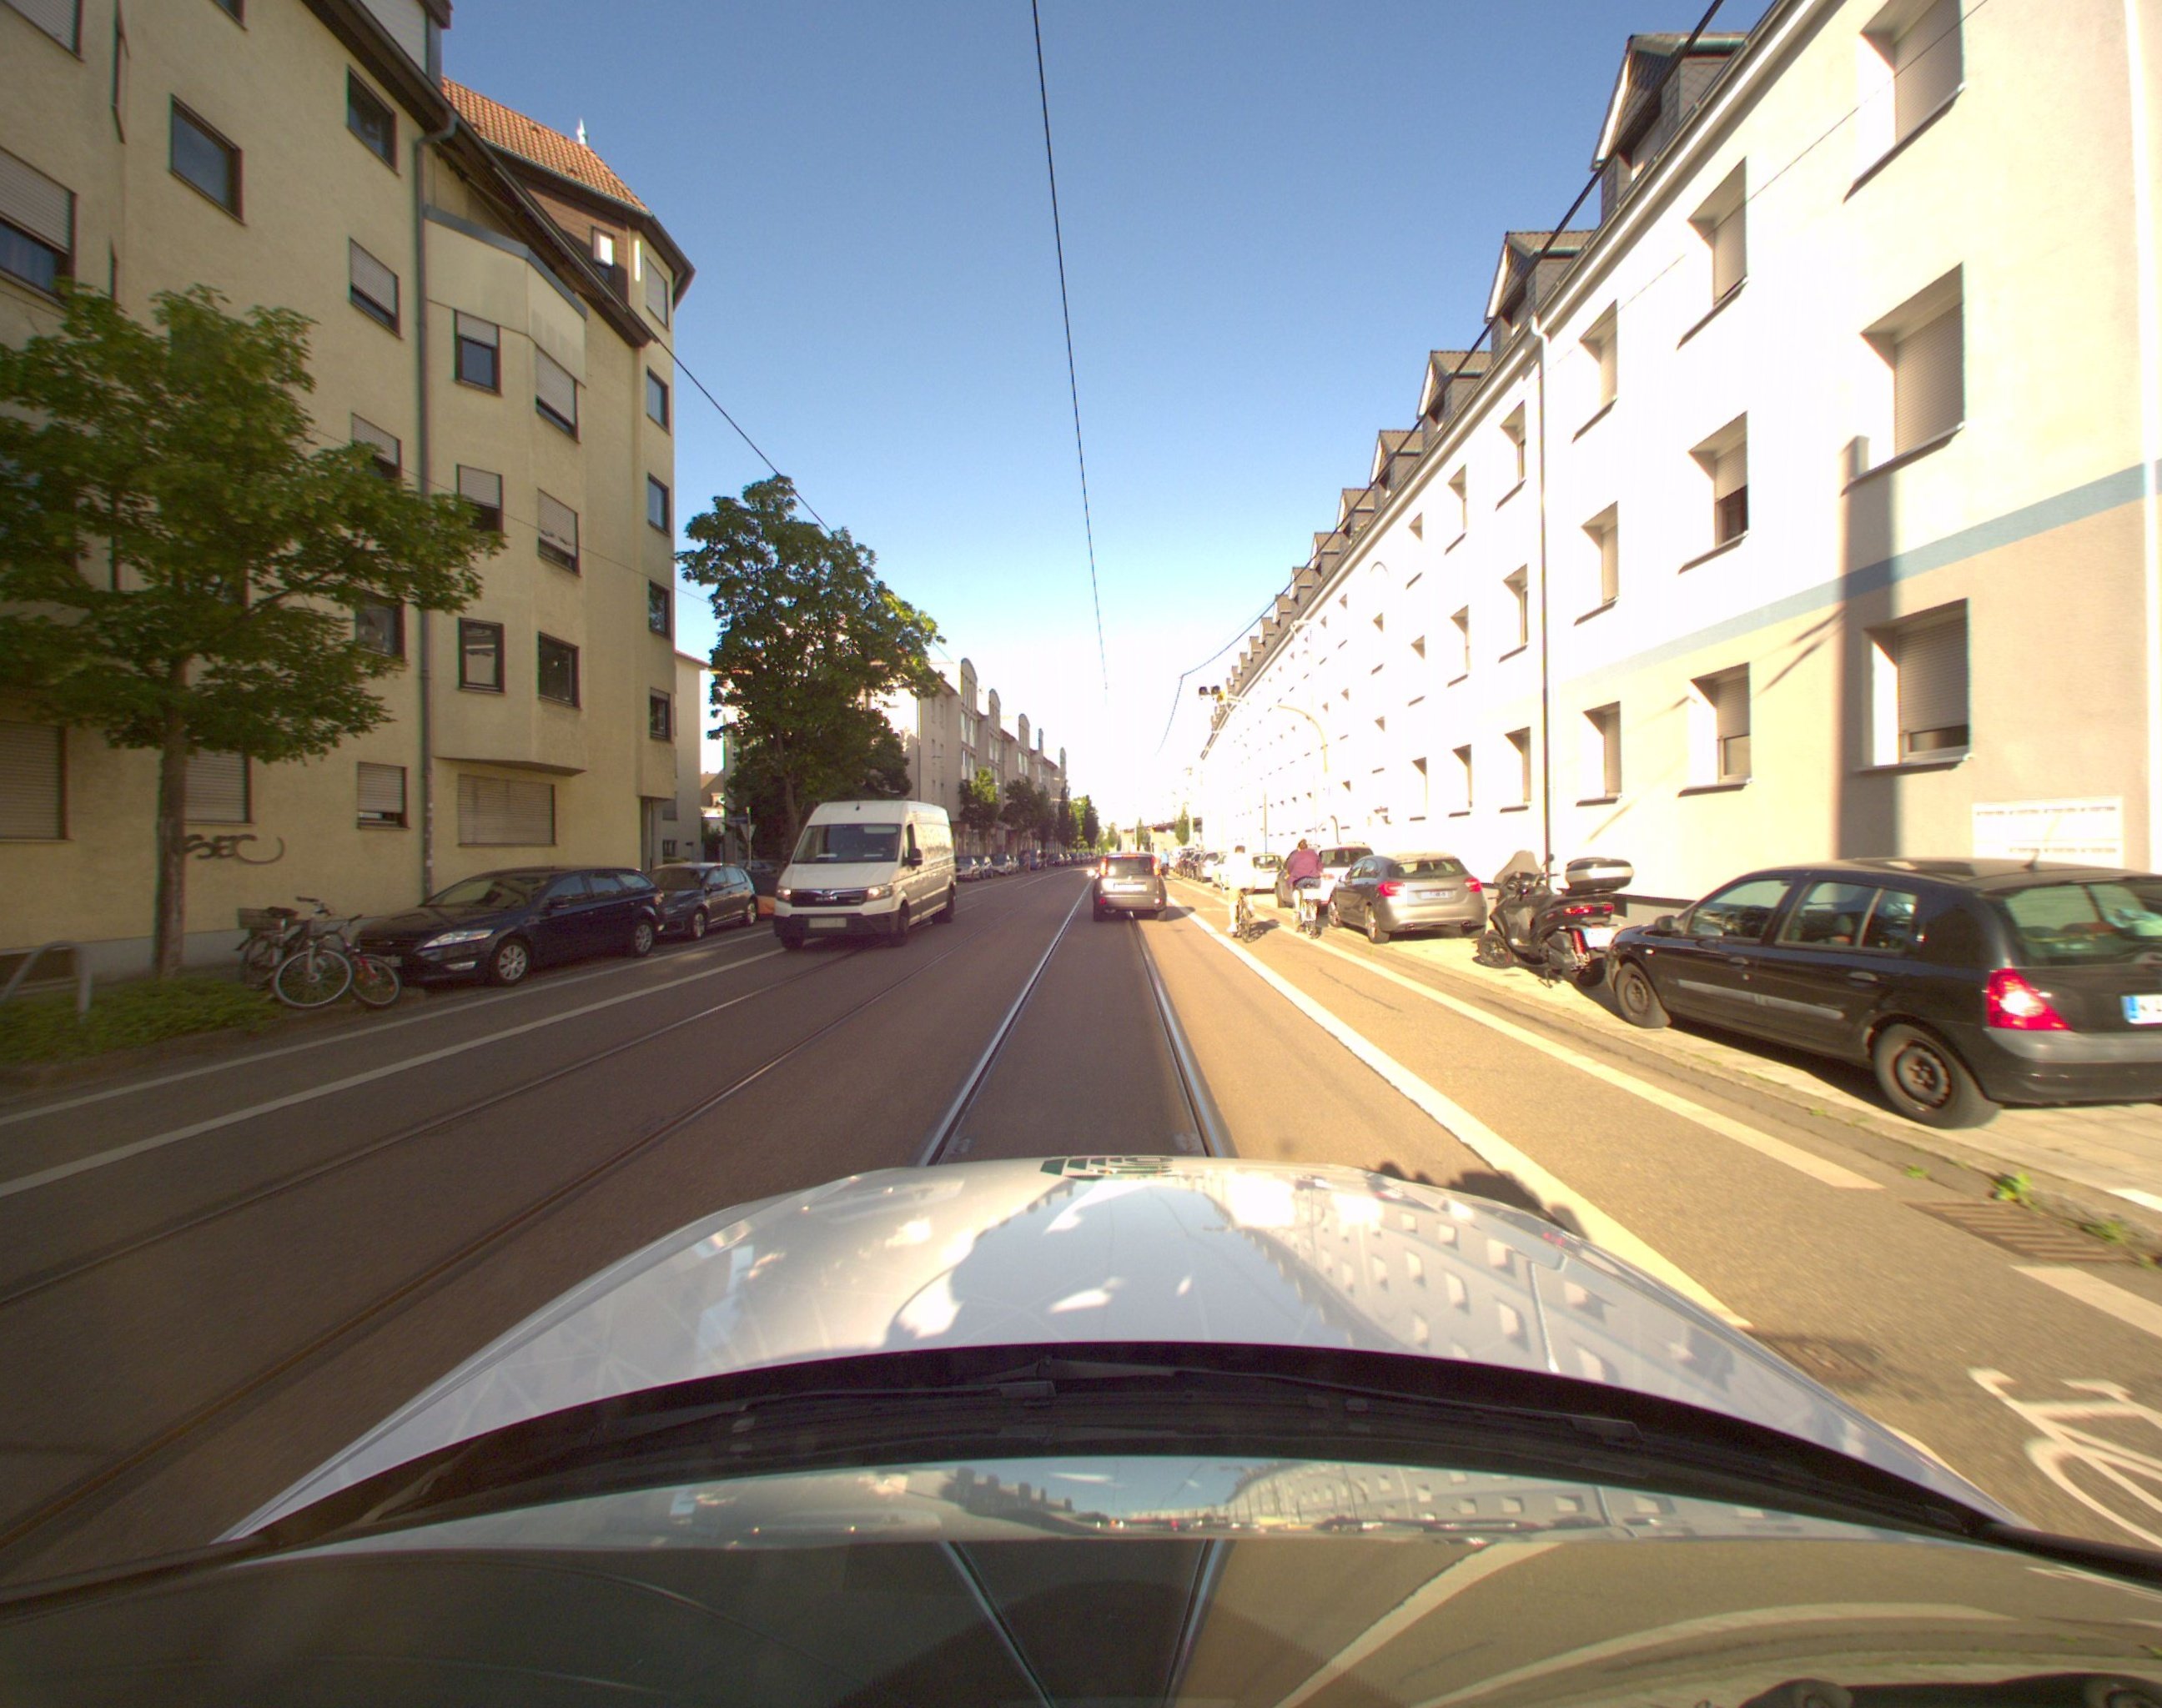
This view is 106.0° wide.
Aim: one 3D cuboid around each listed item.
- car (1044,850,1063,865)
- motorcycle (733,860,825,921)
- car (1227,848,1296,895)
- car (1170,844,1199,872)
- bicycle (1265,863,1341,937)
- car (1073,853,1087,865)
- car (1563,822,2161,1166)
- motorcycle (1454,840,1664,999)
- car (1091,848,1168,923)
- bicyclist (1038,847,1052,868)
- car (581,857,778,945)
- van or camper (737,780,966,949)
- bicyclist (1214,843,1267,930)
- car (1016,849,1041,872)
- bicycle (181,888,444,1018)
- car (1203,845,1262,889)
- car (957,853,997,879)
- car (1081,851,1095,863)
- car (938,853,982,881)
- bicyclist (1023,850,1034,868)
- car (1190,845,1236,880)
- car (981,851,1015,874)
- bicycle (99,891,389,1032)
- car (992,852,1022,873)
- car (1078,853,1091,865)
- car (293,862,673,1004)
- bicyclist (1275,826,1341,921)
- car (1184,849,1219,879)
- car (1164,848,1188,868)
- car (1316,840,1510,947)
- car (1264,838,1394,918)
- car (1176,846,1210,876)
[{"bbox_3d":[-2.999,0.385,90.071,1.657,1.618,4.004,-1,0,4],"label":"car"},{"bbox_3d":[-7.539,0.888,20.410,1.965,1.447,0.835,-1,0,-5],"label":"motorcycle"},{"bbox_3d":[6.288,0.558,28.789,1.508,1.430,4.203,-5,0,2],"label":"car"},{"bbox_3d":[7.709,0.292,61.097,1.779,1.970,4.158,-3,0,3],"label":"car"},{"bbox_3d":[4.118,0.809,15.321,0.818,1.236,2.463,0,0,1],"label":"bicycle"},{"bbox_3d":[-0.102,0.663,108.758,1.585,1.540,3.193,-1,0,3],"label":"car"},{"bbox_3d":[5.306,0.639,5.764,1.602,1.571,3.908,-3,0,3],"label":"car"},{"bbox_3d":[5.343,0.642,9.401,0.802,1.521,2.709,-3,0,1],"label":"motorcycle"},{"bbox_3d":[1.038,0.647,18.753,1.552,1.533,3.486,-1,0,0],"label":"car"},{"bbox_3d":[-2.822,0.298,63.721,0.878,1.561,0.868,-4,0,2],"label":"bicyclist"},{"bbox_3d":[-8.082,0.862,16.880,1.727,1.542,4.135,-1,0,5],"label":"car"},{"bbox_3d":[-3.982,0.165,15.833,2.361,2.553,6.836,0,0,1],"label":"van or camper"},{"bbox_3d":[2.803,0.554,14.401,0.725,1.462,1.021,-1,0,1],"label":"bicyclist"},{"bbox_3d":[-4.738,0.551,74.452,1.657,1.986,4.348,-1,0,4],"label":"car"},{"bbox_3d":[-8.569,1.083,9.140,2.284,1.334,0.700,-1,0,1],"label":"bicycle"},{"bbox_3d":[6.085,0.474,33.174,1.673,1.571,4.512,-3,0,2],"label":"car"},{"bbox_3d":[-6.644,0.720,52.398,1.823,1.489,4.002,-3,0,2],"label":"car"},{"bbox_3d":[1.035,0.449,118.877,1.836,1.646,3.700,-1,0,3],"label":"car"},{"bbox_3d":[-6.882,0.715,46.610,1.737,1.443,4.002,1,0,2],"label":"car"},{"bbox_3d":[-4.115,0.403,63.629,0.621,1.380,0.868,-5,0,2],"label":"bicyclist"},{"bbox_3d":[6.566,0.396,40.842,1.747,1.571,3.908,-4,0,3],"label":"car"},{"bbox_3d":[-6.112,0.602,60.336,1.821,1.593,4.005,-1,0,4],"label":"car"},{"bbox_3d":[-8.603,1.082,8.428,2.284,1.334,0.700,-1,0,1],"label":"bicycle"},{"bbox_3d":[-5.884,0.683,65.227,1.823,1.593,4.002,-1,0,2],"label":"car"},{"bbox_3d":[0.475,0.669,112.756,1.585,1.540,3.193,-1,0,3],"label":"car"},{"bbox_3d":[-8.092,0.936,11.757,1.758,1.542,4.738,-1,0,3],"label":"car"},{"bbox_3d":[4.127,0.340,14.878,0.931,1.676,0.970,-1,0,1],"label":"bicyclist"},{"bbox_3d":[6.729,0.544,45.778,1.585,1.537,4.011,-3,0,4],"label":"car"},{"bbox_3d":[8.407,0.334,72.404,1.836,1.646,4.552,-1,0,3],"label":"car"},{"bbox_3d":[5.660,0.586,14.536,1.856,1.554,4.370,-3,0,3],"label":"car"},{"bbox_3d":[5.956,0.509,20.175,1.749,1.665,4.625,-3,0,0],"label":"car"},{"bbox_3d":[7.004,0.410,51.349,1.654,1.669,3.907,-5,0,3],"label":"car"}]
